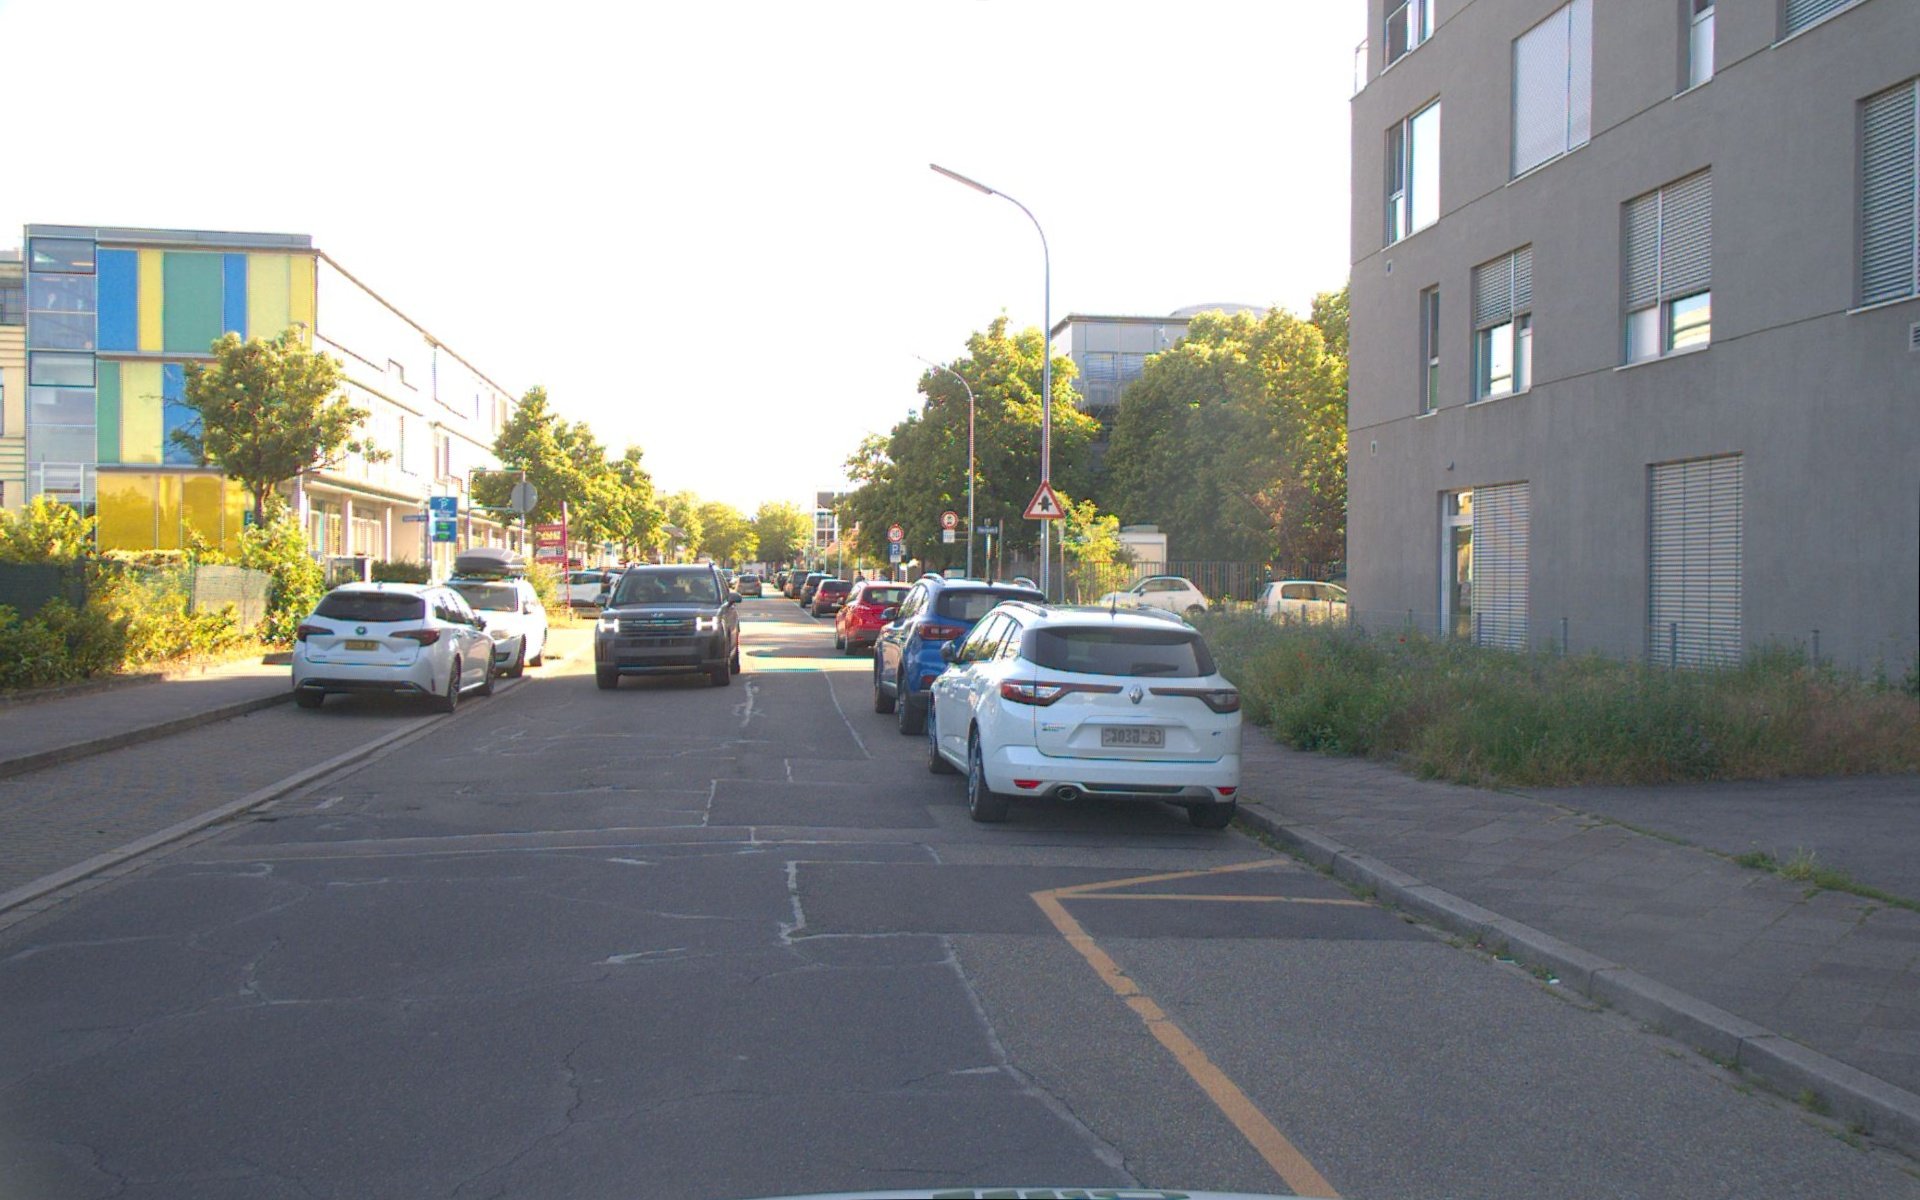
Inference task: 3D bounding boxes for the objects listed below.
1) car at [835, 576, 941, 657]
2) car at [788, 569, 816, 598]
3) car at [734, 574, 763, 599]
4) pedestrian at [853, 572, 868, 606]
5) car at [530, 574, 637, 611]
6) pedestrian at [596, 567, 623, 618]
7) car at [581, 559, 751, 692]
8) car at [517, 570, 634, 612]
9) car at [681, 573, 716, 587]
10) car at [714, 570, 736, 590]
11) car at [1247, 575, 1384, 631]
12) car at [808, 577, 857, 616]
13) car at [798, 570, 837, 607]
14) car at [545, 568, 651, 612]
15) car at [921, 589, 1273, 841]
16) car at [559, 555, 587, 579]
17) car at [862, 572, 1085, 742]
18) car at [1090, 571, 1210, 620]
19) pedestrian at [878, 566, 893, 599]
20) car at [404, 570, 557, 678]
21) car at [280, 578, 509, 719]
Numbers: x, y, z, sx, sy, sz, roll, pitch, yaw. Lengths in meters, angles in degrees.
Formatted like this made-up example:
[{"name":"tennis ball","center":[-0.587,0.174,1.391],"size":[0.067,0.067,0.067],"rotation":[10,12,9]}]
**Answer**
[{"name":"car","center":[-1.589,0.298,34.862],"size":[1.785,1.526,4.444],"rotation":[2,1,-8]},{"name":"car","center":[-10.312,-1.084,107.575],"size":[1.700,1.862,3.899],"rotation":[0,1,-7]},{"name":"car","center":[-13.700,-0.897,107.308],"size":[1.710,1.570,3.995],"rotation":[1,1,-6]},{"name":"pedestrian","center":[-5.294,-0.584,88.290],"size":[0.704,1.788,0.883],"rotation":[-2,1,-7]},{"name":"car","center":[-16.350,-0.323,72.009],"size":[4.350,1.527,1.825],"rotation":[0,0,-7]},{"name":"pedestrian","center":[-13.183,-0.286,62.269],"size":[0.841,1.874,0.824],"rotation":[2,0,-6]},{"name":"car","center":[-4.289,0.301,24.859],"size":[1.904,1.757,4.836],"rotation":[-1,1,-3]},{"name":"car","center":[-16.043,-0.377,69.143],"size":[4.521,1.680,1.866],"rotation":[0,0,-4]},{"name":"car","center":[-30.489,-2.360,193.018],"size":[3.911,1.545,1.997],"rotation":[0,0,-7]},{"name":"car","center":[-22.387,-1.904,157.204],"size":[1.919,1.900,5.244],"rotation":[1,1,-9]},{"name":"car","center":[9.475,0.066,44.215],"size":[3.260,1.483,1.714],"rotation":[0,1,-3]},{"name":"car","center":[-5.194,-0.183,66.965],"size":[1.687,1.480,4.644],"rotation":[1,1,-8]},{"name":"car","center":[-7.159,-0.583,82.857],"size":[1.777,1.695,4.587],"rotation":[1,2,-6]},{"name":"car","center":[-16.962,-0.495,77.615],"size":[4.652,1.897,1.825],"rotation":[2,1,-7]},{"name":"car","center":[0.792,0.695,12.362],"size":[1.712,1.454,4.579],"rotation":[2,1,-7]},{"name":"car","center":[-34.453,-2.914,147.287],"size":[1.956,2.049,3.993],"rotation":[0,0,-8]},{"name":"car","center":[0.007,0.532,18.599],"size":[1.783,1.627,4.619],"rotation":[2,1,-8]},{"name":"car","center":[5.948,-0.151,52.025],"size":[3.478,1.512,1.598],"rotation":[0,1,-7]},{"name":"pedestrian","center":[-3.876,-0.900,85.906],"size":[0.685,1.690,0.750],"rotation":[-1,1,-8]},{"name":"car","center":[-7.649,0.321,26.771],"size":[1.664,1.540,4.510],"rotation":[2,0,-8]},{"name":"car","center":[-6.796,0.505,20.353],"size":[1.714,1.471,4.535],"rotation":[2,1,-7]}]
